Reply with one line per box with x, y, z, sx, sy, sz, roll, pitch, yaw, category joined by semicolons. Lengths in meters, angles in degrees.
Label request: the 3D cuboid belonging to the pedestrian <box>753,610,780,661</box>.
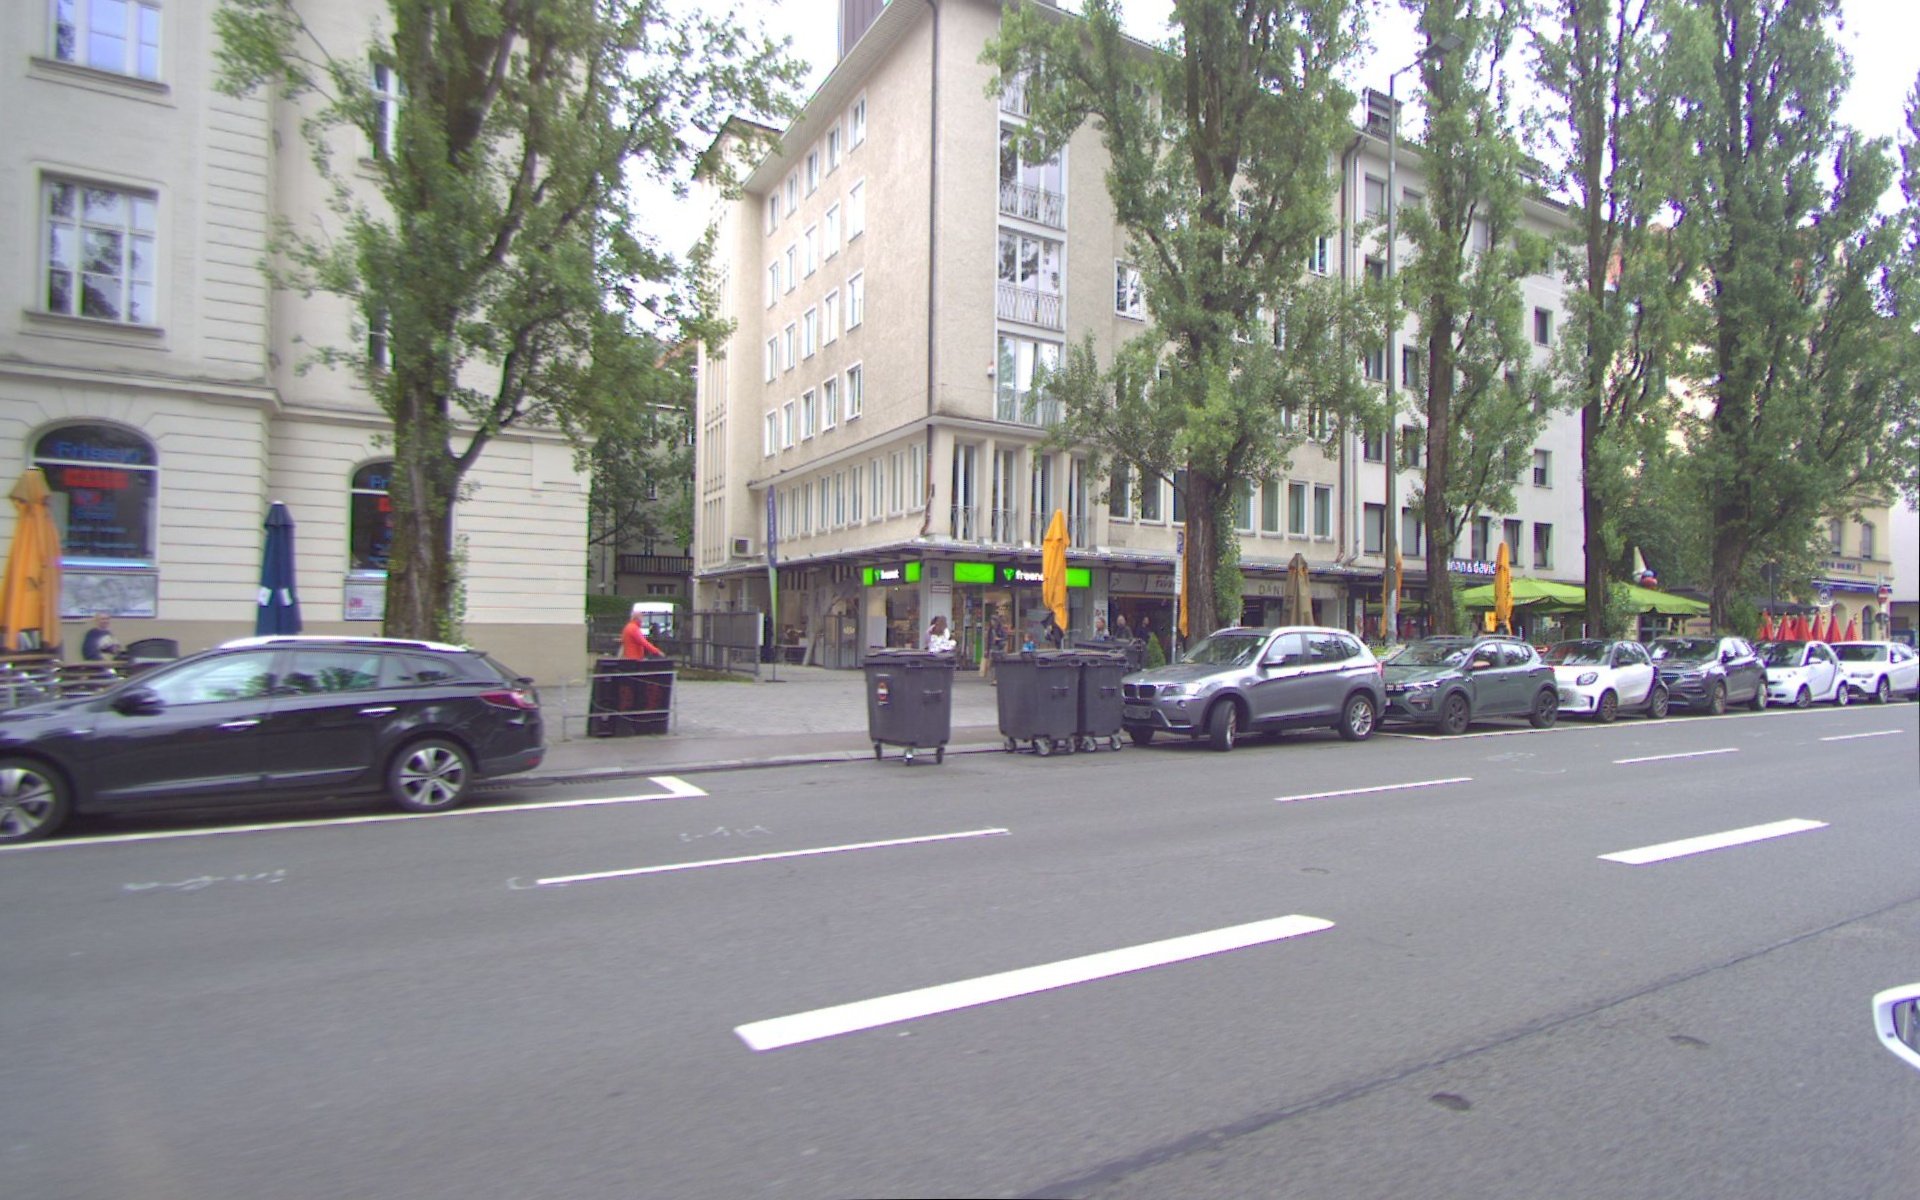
-6.654;1.214;34.577;0.752;1.716;0.623;1;-2;-28;pedestrian

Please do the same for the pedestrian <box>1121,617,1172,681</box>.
5.297;1.370;28.560;1.134;1.768;0.848;1;-1;-30;pedestrian

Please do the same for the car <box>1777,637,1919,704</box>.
22.826;1.742;25.695;4.042;1.567;1.825;2;-2;-33;car

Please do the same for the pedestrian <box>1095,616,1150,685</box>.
4.279;1.314;26.450;1.134;1.767;0.848;1;-1;-30;pedestrian

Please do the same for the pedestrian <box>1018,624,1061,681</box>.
1.904;1.244;24.035;0.818;1.342;0.622;1;-2;-32;pedestrian

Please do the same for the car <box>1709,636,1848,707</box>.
19.359;1.658;23.760;2.886;1.554;1.567;1;-2;-28;car

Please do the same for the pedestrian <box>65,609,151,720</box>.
-12.457;0.924;14.715;0.795;1.558;0.765;2;0;-31;pedestrian

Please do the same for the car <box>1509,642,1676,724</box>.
12.279;1.548;19.494;2.950;1.447;1.623;2;-2;-32;car

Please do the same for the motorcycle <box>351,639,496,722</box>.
-7.836;1.155;14.742;1.802;1.154;0.471;3;-2;-44;motorcycle

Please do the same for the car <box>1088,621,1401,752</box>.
4.269;1.224;14.875;4.564;1.676;1.855;2;-4;-32;car

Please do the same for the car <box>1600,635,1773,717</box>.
15.657;1.556;21.593;4.139;1.586;1.828;2;-2;-36;car

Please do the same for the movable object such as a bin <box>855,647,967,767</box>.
-0.613;1.249;12.189;0.890;1.327;1.272;1;-1;-28;movable object such as a bin

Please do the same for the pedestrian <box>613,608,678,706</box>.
-5.653;1.010;18.065;0.941;1.695;0.730;2;0;-30;pedestrian

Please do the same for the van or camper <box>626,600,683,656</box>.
-14.332;1.296;46.960;1.972;2.457;4.850;1;-1;-23;van or camper

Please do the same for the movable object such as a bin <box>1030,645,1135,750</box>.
1.666;1.303;13.804;0.810;1.334;1.307;1;-1;-31;movable object such as a bin

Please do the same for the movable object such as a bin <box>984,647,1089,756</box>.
0.994;1.301;13.303;0.816;1.334;1.253;1;-1;-31;movable object such as a bin

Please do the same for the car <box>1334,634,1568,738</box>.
8.379;1.385;17.062;4.036;1.571;1.689;2;-2;-32;car

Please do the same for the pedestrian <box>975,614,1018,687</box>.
0.883;1.213;24.304;0.818;1.744;0.622;1;-2;-32;pedestrian

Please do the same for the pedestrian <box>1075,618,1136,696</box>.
3.392;1.309;23.486;1.134;1.767;0.848;1;-1;-30;pedestrian

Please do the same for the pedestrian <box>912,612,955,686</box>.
-0.643;1.167;24.001;0.817;1.744;0.622;1;-2;-31;pedestrian

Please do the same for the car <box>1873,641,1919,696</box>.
27.366;1.918;28.183;3.348;1.466;1.580;1;-1;-28;car

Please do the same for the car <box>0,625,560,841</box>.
-5.823;1.019;8.620;4.261;1.524;1.656;1;-4;-30;car

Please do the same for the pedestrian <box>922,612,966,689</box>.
-0.364;1.169;23.396;0.817;1.744;0.622;1;-2;-31;pedestrian
